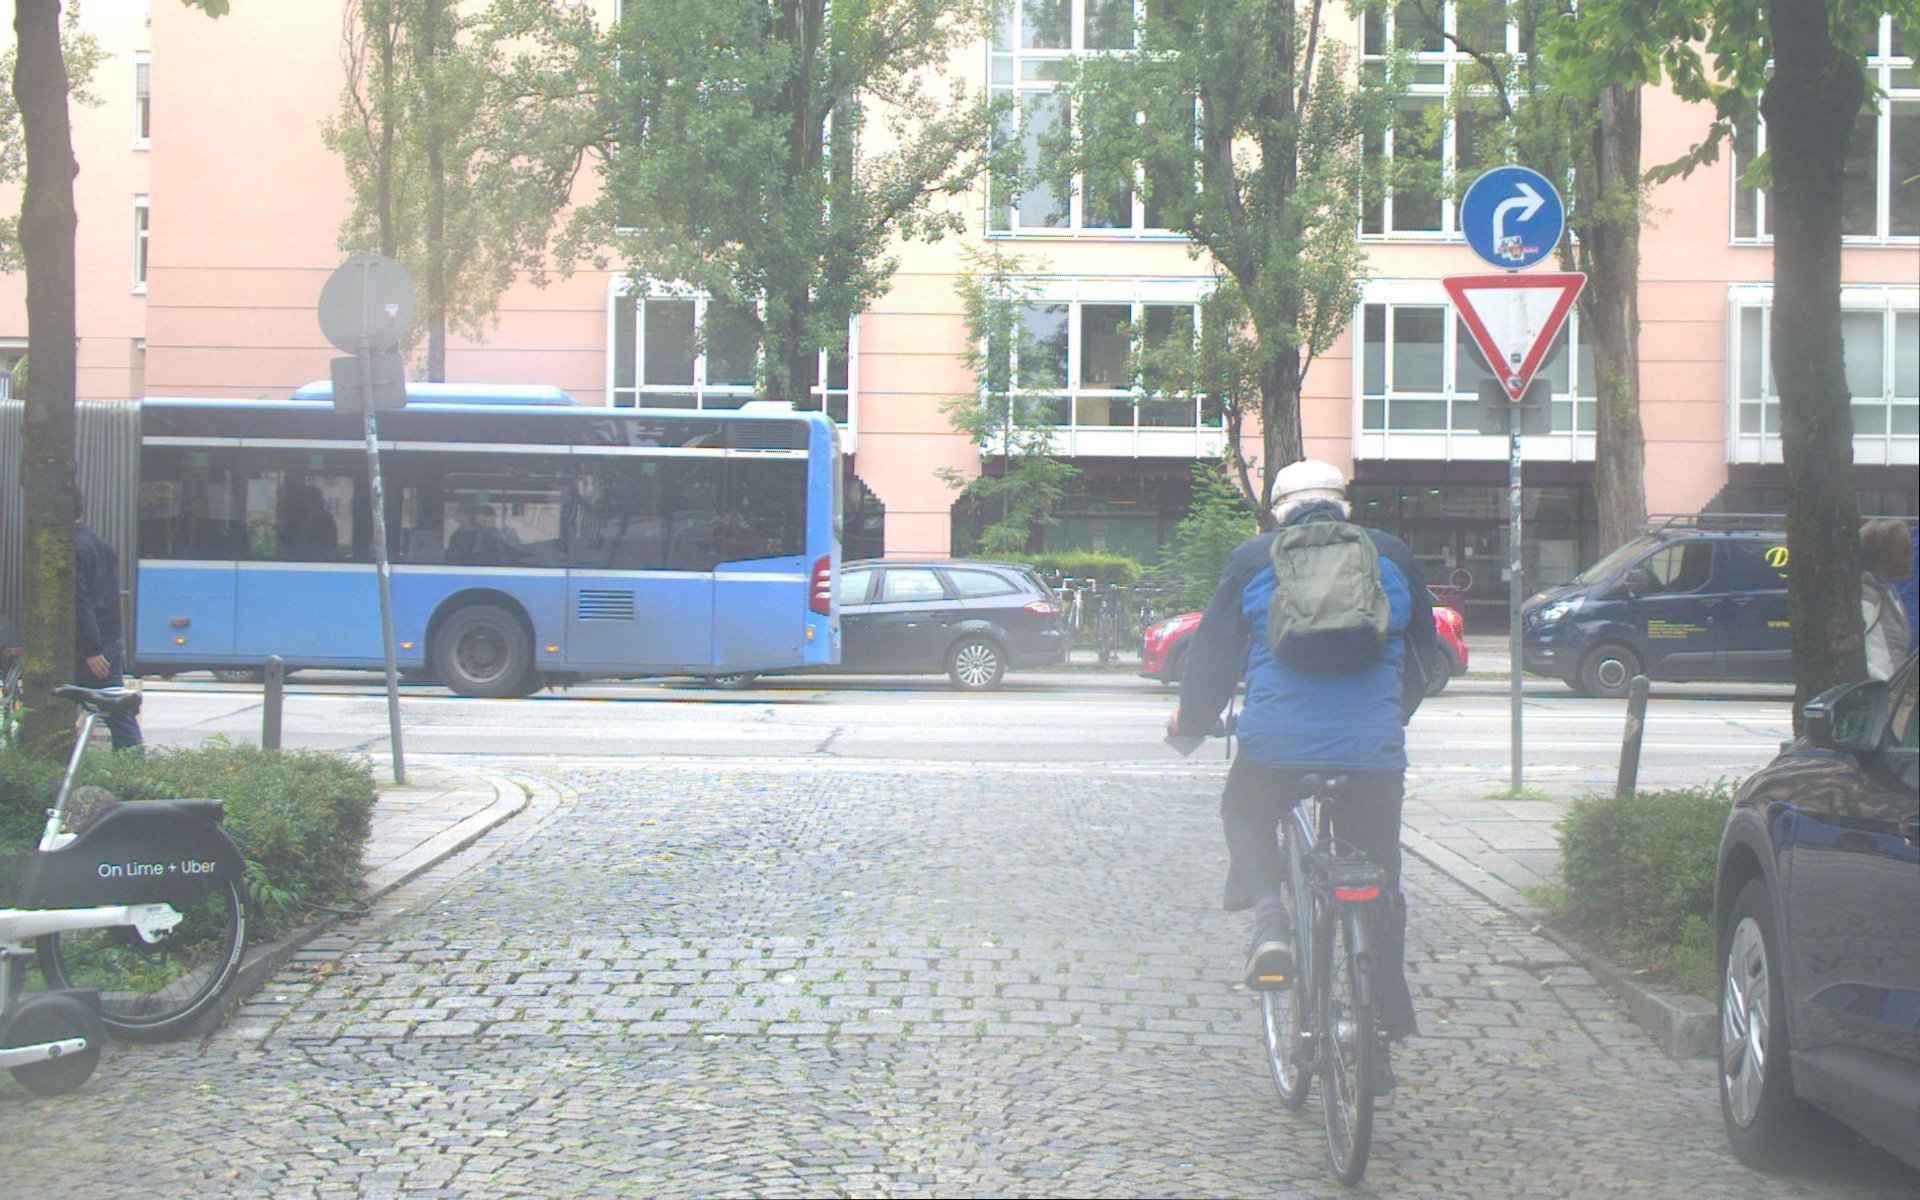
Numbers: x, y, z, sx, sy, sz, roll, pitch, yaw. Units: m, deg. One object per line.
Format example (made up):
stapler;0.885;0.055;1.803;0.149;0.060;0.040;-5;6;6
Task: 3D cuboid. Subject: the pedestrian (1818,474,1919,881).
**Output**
pedestrian;4.074;0.318;14.448;0.843;1.674;0.610;1;1;11

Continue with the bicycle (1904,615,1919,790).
bicycle;6.060;0.623;20.001;0.474;1.047;1.877;1;0;-4

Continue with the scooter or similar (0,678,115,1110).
scooter or similar;-3.020;0.787;9.194;1.425;1.140;0.369;0;1;-23

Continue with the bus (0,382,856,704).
bus;-5.370;-0.581;34.511;8.490;3.041;2.927;0;1;1

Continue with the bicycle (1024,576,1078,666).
bicycle;1.182;0.257;44.429;0.674;1.120;1.742;1;1;2

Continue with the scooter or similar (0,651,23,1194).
scooter or similar;-2.832;0.755;7.917;1.247;1.268;0.327;0;1;-30

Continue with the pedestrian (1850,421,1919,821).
pedestrian;4.296;0.089;14.850;0.804;1.690;0.664;1;1;10

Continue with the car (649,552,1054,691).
car;-1.223;0.228;40.182;4.608;1.523;1.793;1;1;1

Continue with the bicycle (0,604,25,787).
bicycle;-6.027;0.578;20.113;0.490;1.089;1.703;1;1;6

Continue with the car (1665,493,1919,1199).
car;2.863;0.657;6.870;1.920;1.694;4.202;1;1;-1

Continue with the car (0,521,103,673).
car;-12.287;-0.046;40.216;4.065;1.726;1.793;1;-1;0

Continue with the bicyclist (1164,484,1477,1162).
bicyclist;0.888;0.528;8.635;0.722;1.614;0.757;1;1;4

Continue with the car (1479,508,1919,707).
car;8.924;0.069;39.978;5.479;2.189;2.024;1;1;1

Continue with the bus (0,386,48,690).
bus;-14.467;-0.654;34.662;9.764;3.041;2.927;0;1;1

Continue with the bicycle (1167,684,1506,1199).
bicycle;0.901;0.816;8.670;0.717;1.144;1.900;1;0;3

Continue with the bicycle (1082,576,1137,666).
bicycle;1.922;0.257;44.408;0.674;1.120;1.742;1;1;2

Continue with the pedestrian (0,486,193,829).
pedestrian;-4.474;0.279;17.498;0.955;1.705;0.858;0;1;-1

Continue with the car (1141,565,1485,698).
car;4.051;0.352;39.848;3.861;1.444;1.678;1;1;4

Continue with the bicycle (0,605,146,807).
bicycle;-5.249;0.589;19.934;0.490;1.089;1.703;1;1;6

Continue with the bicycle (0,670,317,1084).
bicycle;-2.800;0.788;9.936;1.757;1.139;0.554;0;1;-30
